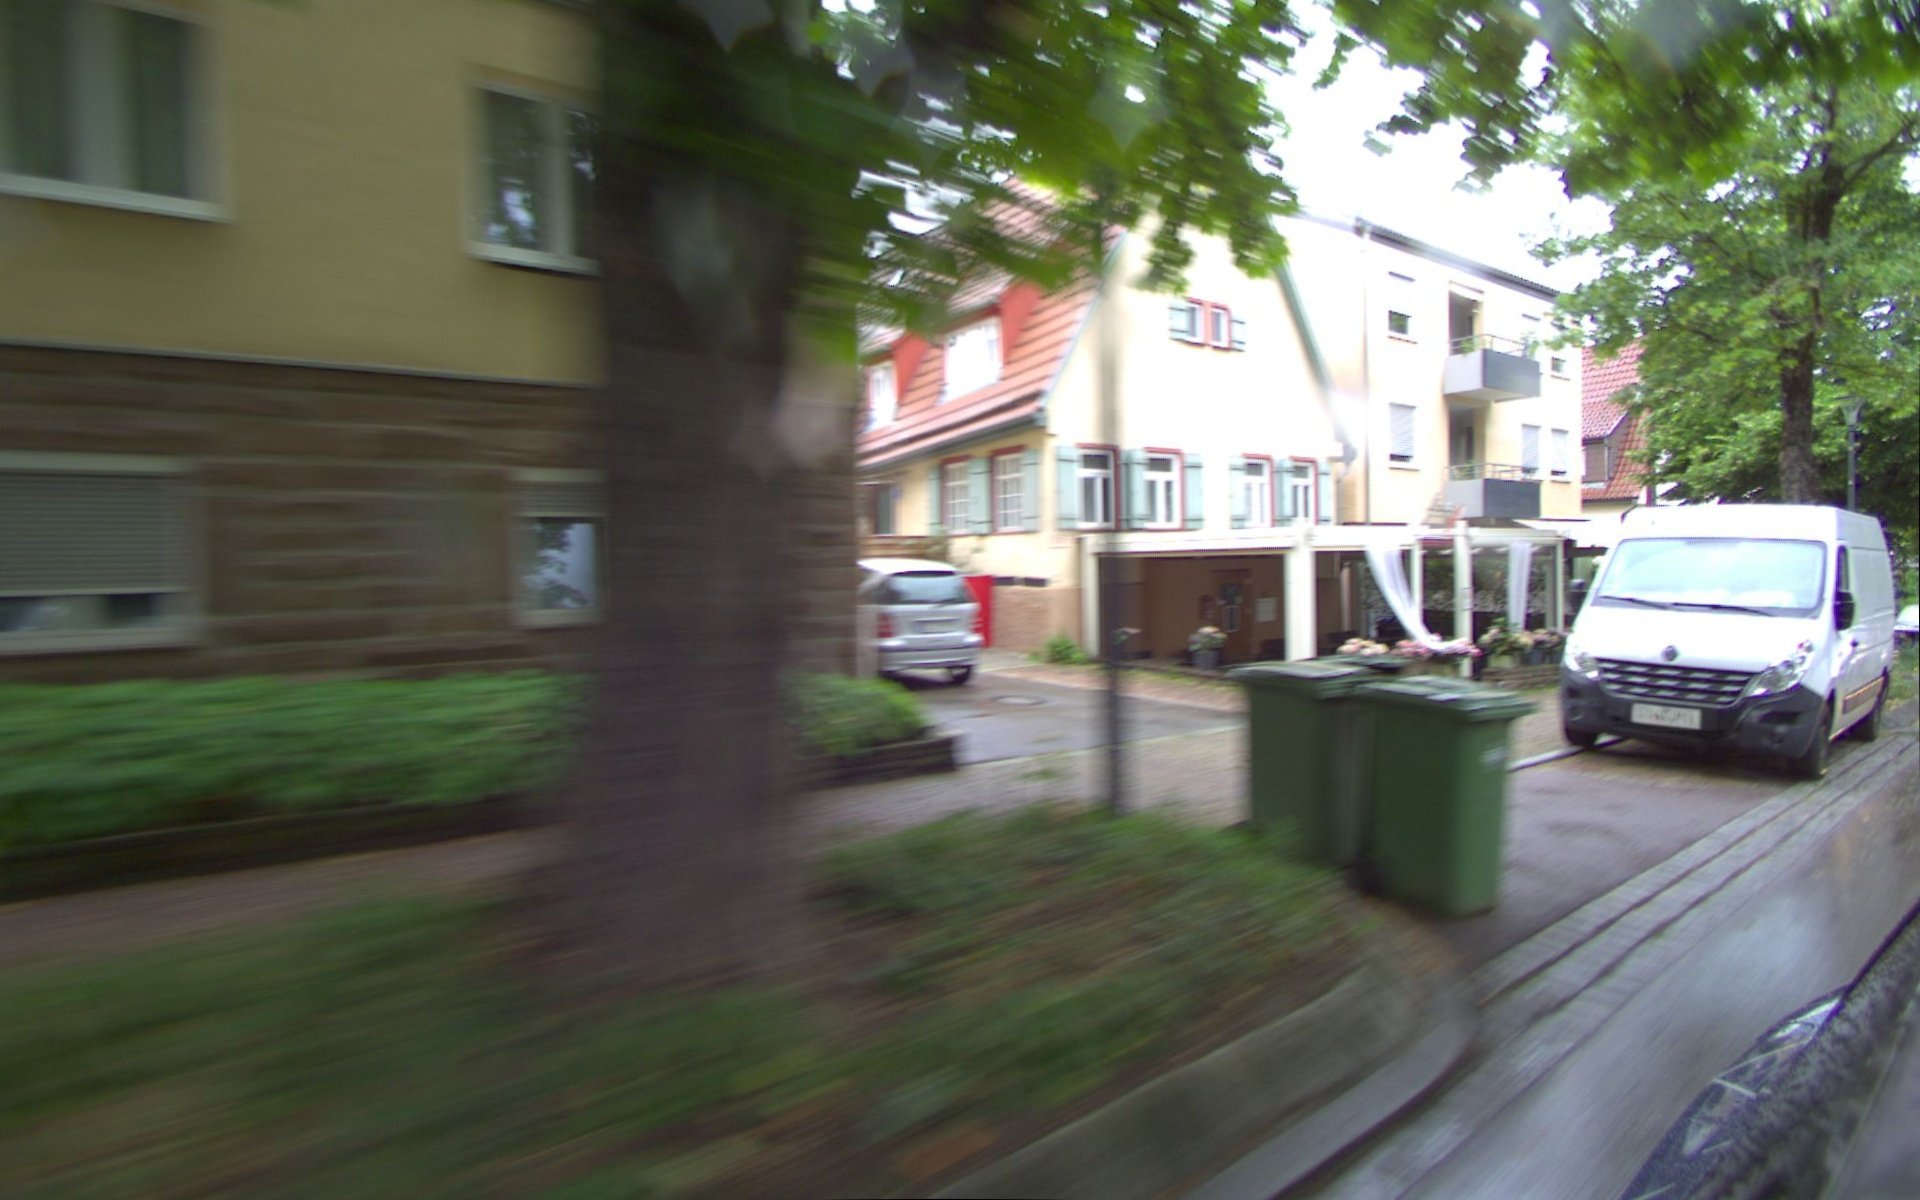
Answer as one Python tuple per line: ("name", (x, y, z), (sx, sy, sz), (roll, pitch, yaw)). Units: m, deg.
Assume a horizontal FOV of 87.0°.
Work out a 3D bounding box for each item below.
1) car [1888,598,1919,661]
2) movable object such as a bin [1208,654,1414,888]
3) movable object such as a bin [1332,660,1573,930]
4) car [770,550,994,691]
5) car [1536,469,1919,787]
("car", (23.400, 0.682, 23.892), (3.717, 1.429, 1.811), (0, 0, -41))
("movable object such as a bin", (1.935, 0.874, 5.575), (0.863, 1.089, 0.749), (0, 0, -41))
("movable object such as a bin", (2.418, 0.880, 4.970), (0.863, 1.089, 0.799), (0, 0, -41))
("car", (-1.162, 0.163, 13.670), (1.629, 1.615, 3.299), (-1, 3, -33))
("car", (8.147, 0.201, 10.511), (5.340, 2.491, 2.144), (0, 0, -41))
